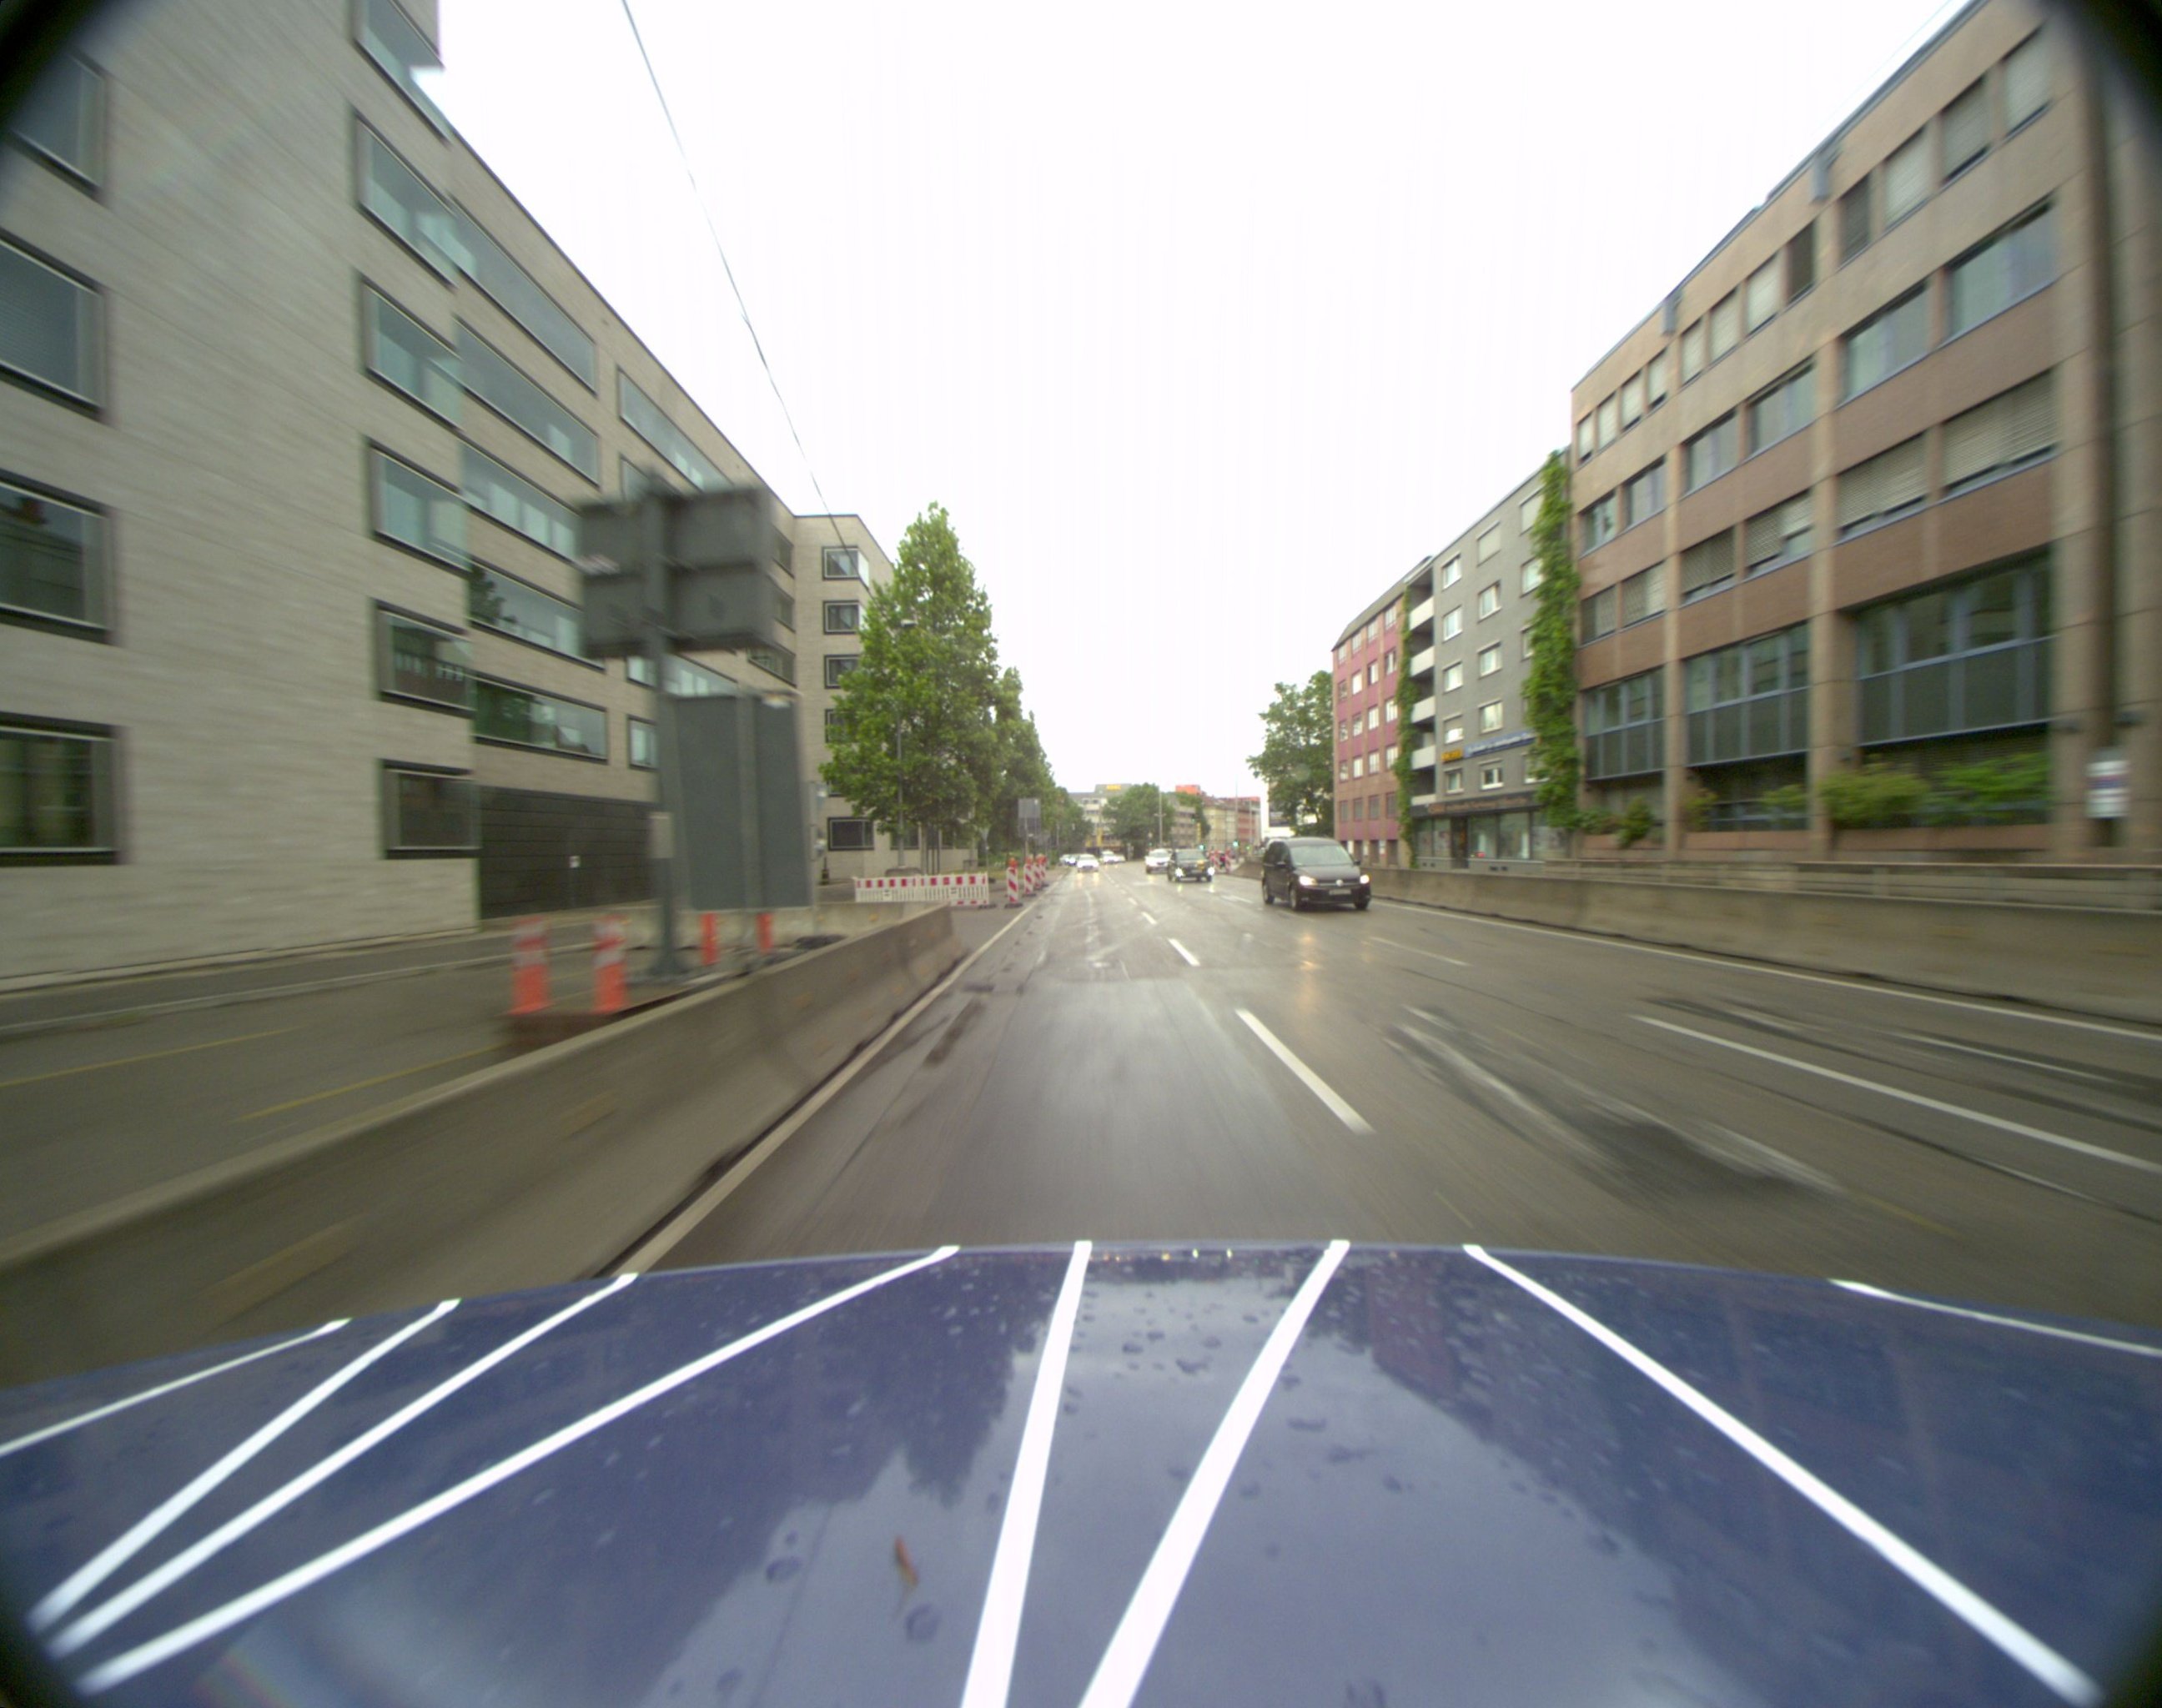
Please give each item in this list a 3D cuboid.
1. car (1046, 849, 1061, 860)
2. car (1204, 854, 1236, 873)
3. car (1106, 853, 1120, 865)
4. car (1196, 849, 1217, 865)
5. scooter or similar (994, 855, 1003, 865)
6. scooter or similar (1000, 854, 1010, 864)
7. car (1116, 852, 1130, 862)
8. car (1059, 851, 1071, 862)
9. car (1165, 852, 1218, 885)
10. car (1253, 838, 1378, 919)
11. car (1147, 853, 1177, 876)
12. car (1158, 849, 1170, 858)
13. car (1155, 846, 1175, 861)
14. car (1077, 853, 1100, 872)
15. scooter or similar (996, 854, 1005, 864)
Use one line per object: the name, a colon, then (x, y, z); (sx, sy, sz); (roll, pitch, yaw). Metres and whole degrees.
car: (-3.796, 0.010, 104.983); (1.848, 1.483, 3.998); (-1, 1, -4)
car: (11.492, 0.776, 63.175); (1.865, 1.524, 4.230); (-1, 1, 0)
car: (4.418, 0.713, 105.623); (1.847, 1.567, 4.000); (-1, 1, 2)
car: (13.917, 0.328, 84.357); (1.725, 1.760, 4.425); (-1, 1, 1)
scooter or similar: (-11.040, 0.770, 101.778); (1.241, 1.305, 0.472); (-1, 1, -3)
scooter or similar: (-10.030, 0.699, 100.740); (1.241, 1.305, 0.554); (-1, 1, -3)
car: (6.953, 0.496, 126.560); (1.848, 1.567, 3.998); (-1, 1, -4)
car: (-2.441, 0.382, 116.958); (1.847, 1.567, 3.999); (-1, 1, 0)
car: (5.528, 0.682, 38.566); (1.930, 1.532, 3.999); (-2, 0, -2)
car: (5.754, 0.540, 19.198); (1.795, 1.789, 4.124); (-1, 0, -1)
car: (5.743, 0.700, 54.316); (1.847, 1.567, 4.000); (-1, 1, 2)
car: (14.047, -0.122, 128.938); (1.560, 1.476, 2.949); (0, 0, -1)
car: (11.866, -0.069, 107.555); (1.999, 1.979, 5.287); (-1, 1, -2)
car: (0.687, 0.707, 66.528); (1.847, 1.567, 4.000); (-1, 1, 2)
scooter or similar: (-10.716, 0.722, 101.254); (1.241, 1.305, 0.472); (-1, 1, -3)
